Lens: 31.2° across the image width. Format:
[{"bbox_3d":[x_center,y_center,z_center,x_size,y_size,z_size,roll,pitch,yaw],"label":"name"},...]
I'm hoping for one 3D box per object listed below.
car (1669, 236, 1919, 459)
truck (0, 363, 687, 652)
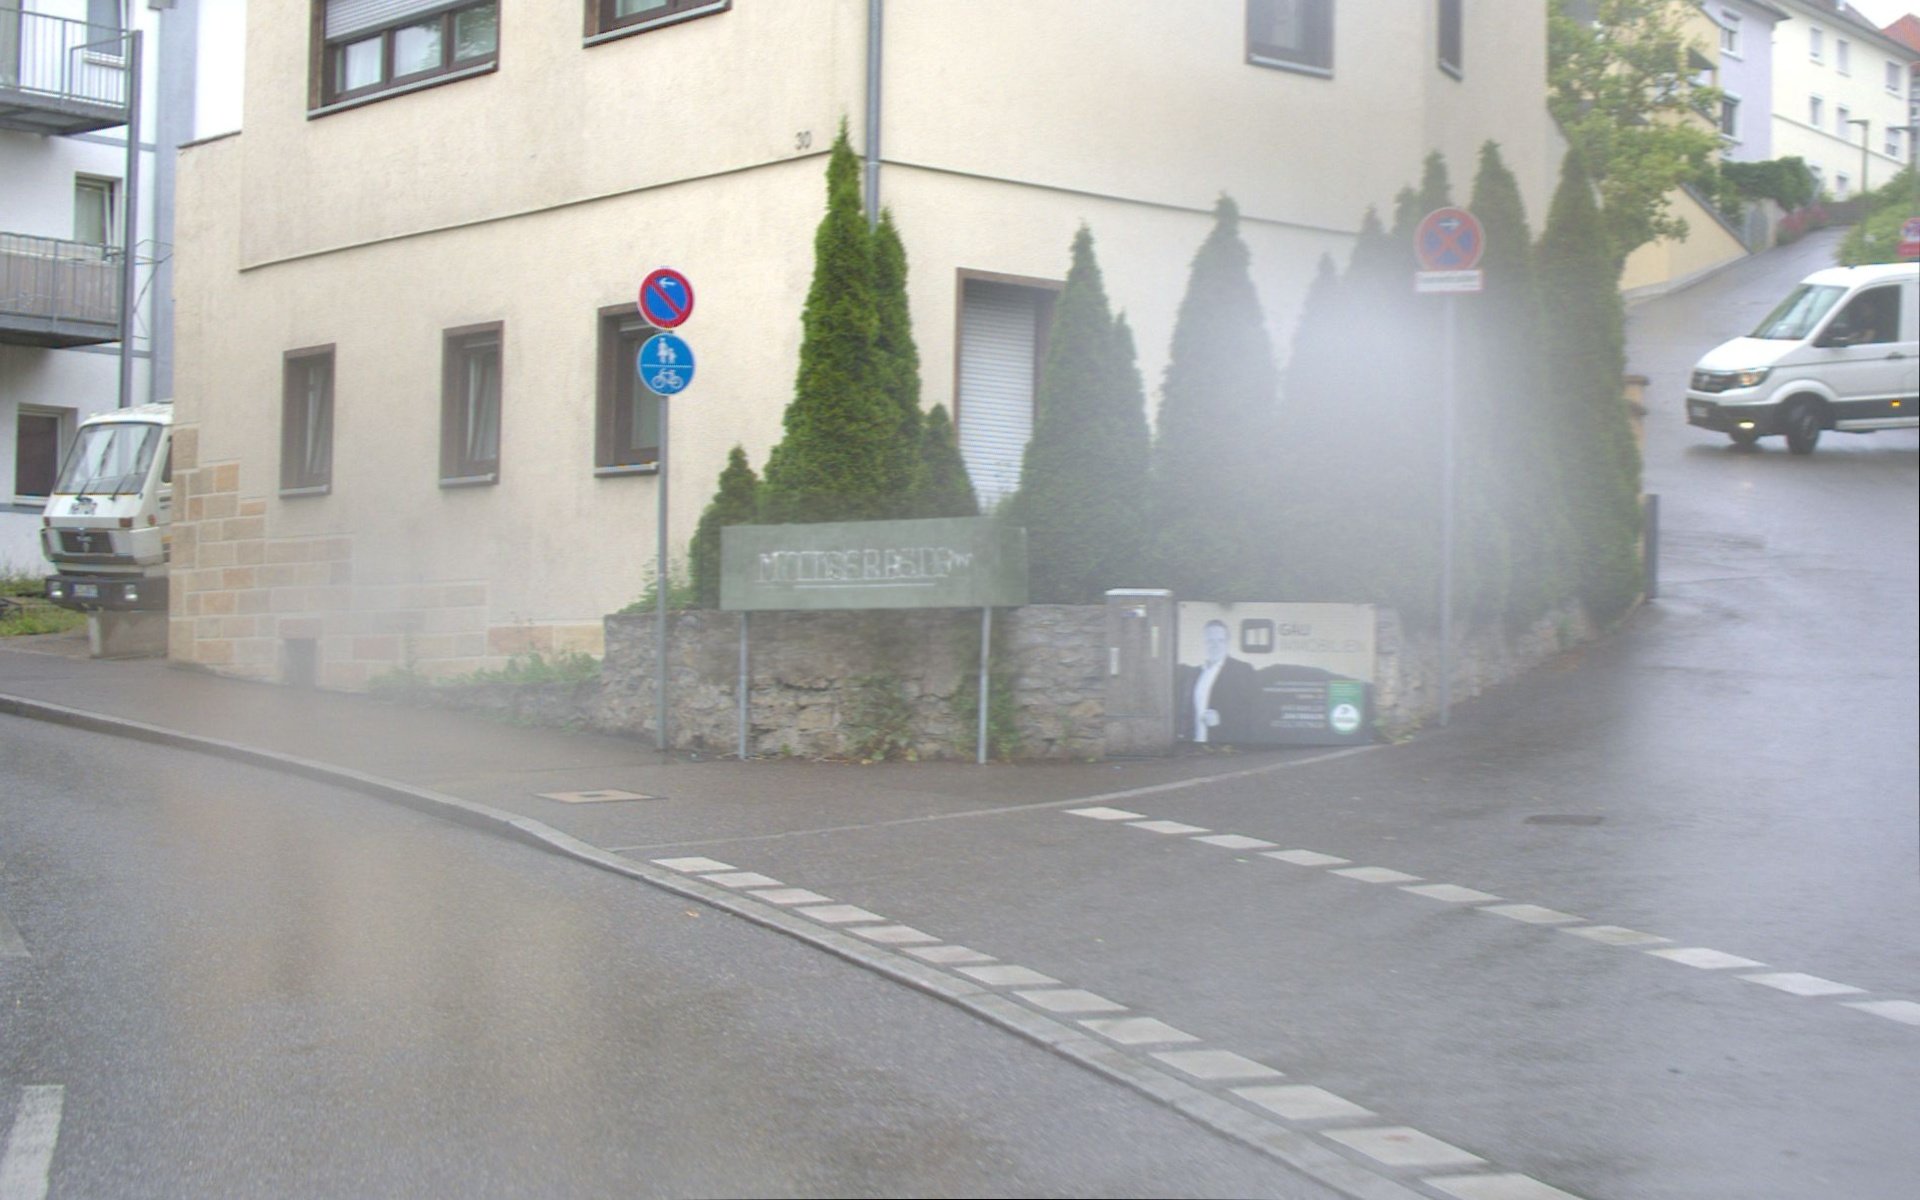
[{"bbox_3d":[12.120,-3.156,43.770,5.688,2.641,2.000,1,0,-6],"label":"car"},{"bbox_3d":[-6.252,-1.056,35.681,6.960,2.693,2.140,-3,6,-43],"label":"truck"}]
